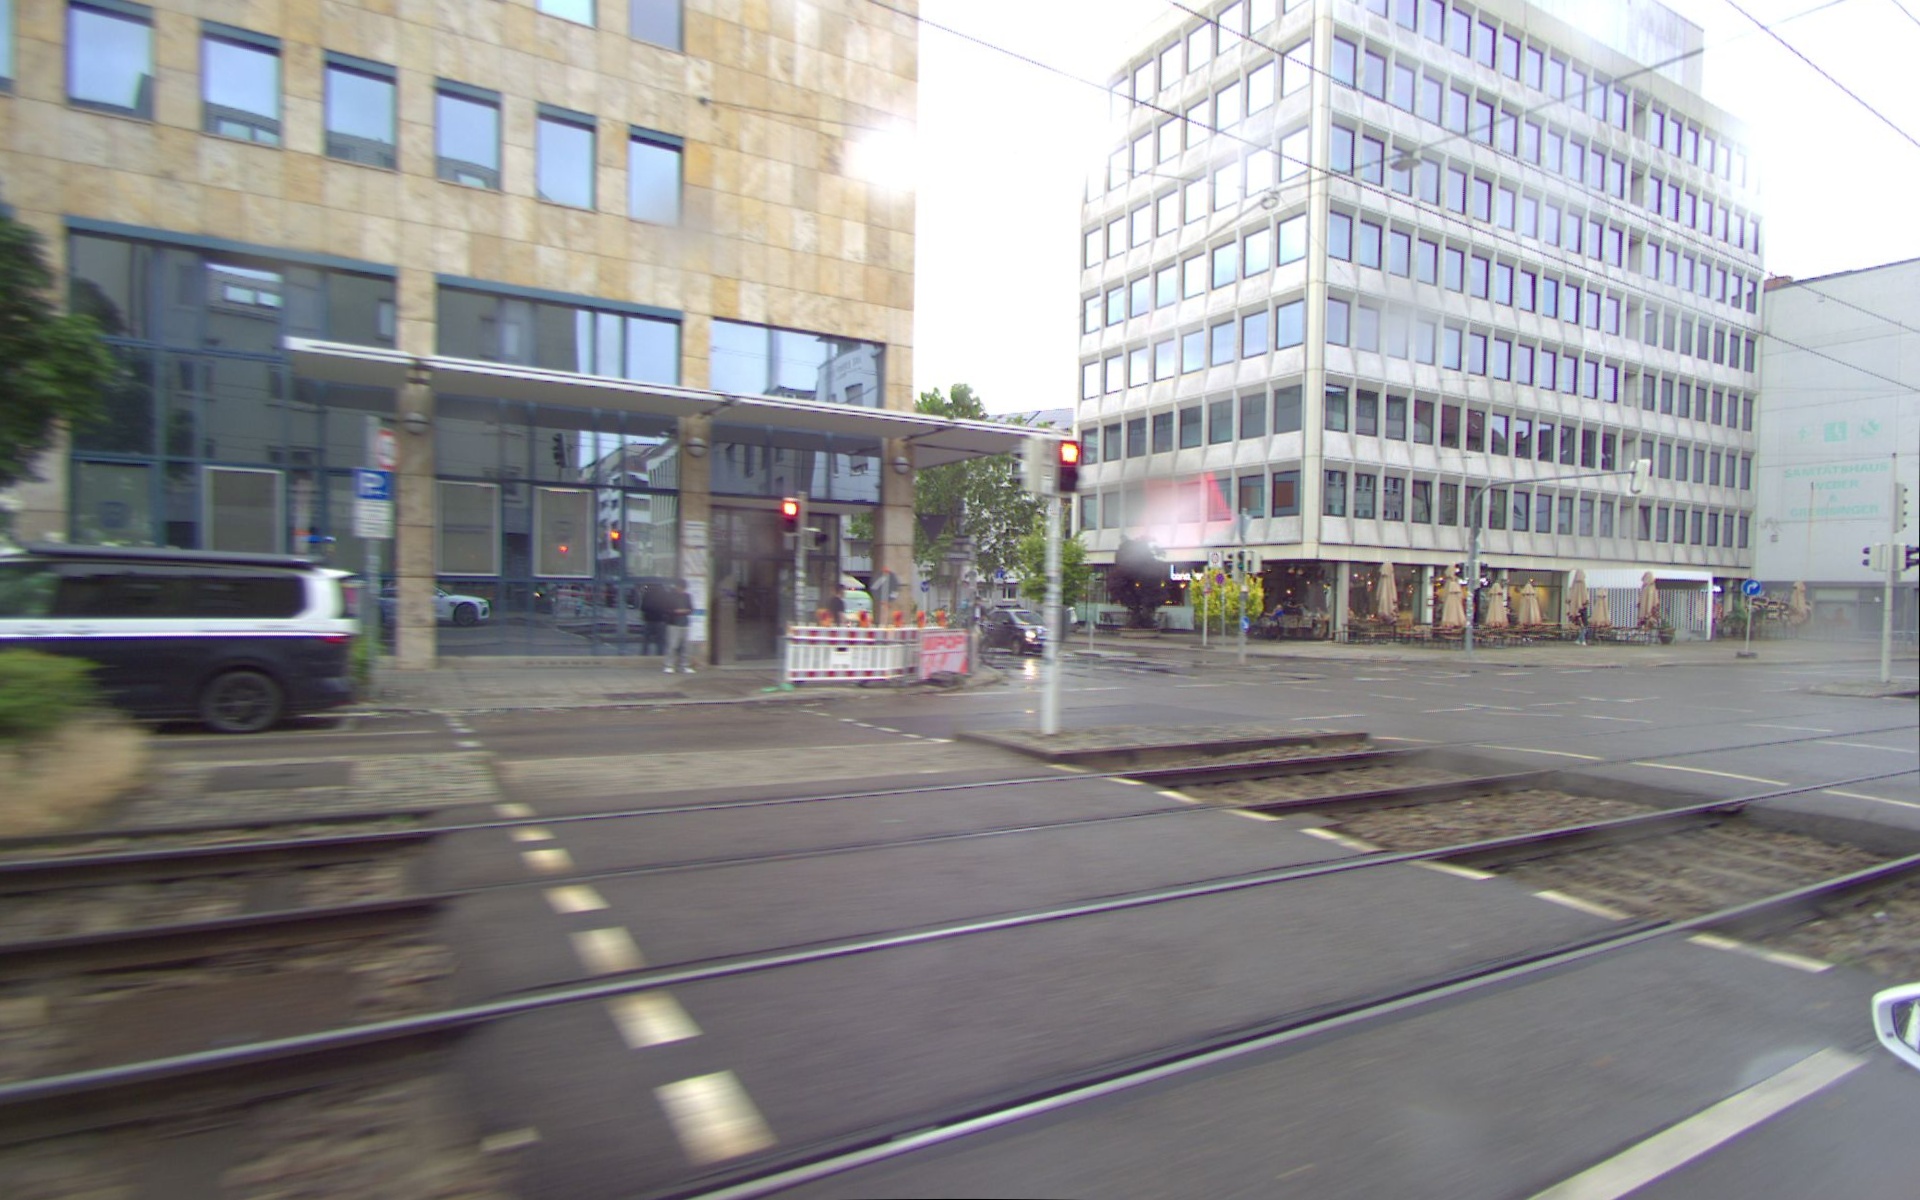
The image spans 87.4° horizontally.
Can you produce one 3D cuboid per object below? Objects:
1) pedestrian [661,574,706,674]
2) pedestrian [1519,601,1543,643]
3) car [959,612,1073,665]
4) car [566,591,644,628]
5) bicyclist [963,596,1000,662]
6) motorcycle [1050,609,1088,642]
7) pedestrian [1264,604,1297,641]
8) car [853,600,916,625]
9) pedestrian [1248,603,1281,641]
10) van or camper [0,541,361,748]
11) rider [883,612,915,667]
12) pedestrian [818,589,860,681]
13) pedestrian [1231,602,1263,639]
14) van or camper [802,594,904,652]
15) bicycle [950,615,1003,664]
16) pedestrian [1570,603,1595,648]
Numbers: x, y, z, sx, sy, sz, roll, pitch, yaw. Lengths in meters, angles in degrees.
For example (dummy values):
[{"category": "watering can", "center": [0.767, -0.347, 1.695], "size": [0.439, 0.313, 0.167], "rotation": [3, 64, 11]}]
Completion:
[{"category": "pedestrian", "center": [-5.213, 0.435, 18.926], "size": [0.670, 1.839, 0.698], "rotation": [1, 1, -28]}, {"category": "pedestrian", "center": [24.979, 0.957, 43.917], "size": [0.836, 1.772, 0.560], "rotation": [1, 1, -35]}, {"category": "car", "center": [1.807, 1.228, 33.583], "size": [1.870, 1.550, 3.964], "rotation": [1, 1, -32]}, {"category": "car", "center": [-20.251, 0.541, 57.395], "size": [3.930, 1.951, 1.995], "rotation": [2, 0, -12]}, {"category": "bicyclist", "center": [0.606, 0.806, 28.094], "size": [0.775, 1.828, 0.705], "rotation": [0, 0, -30]}, {"category": "motorcycle", "center": [5.886, 1.373, 54.222], "size": [2.062, 1.741, 0.870], "rotation": [1, -1, -40]}, {"category": "pedestrian", "center": [13.500, 0.940, 42.327], "size": [0.954, 1.553, 0.889], "rotation": [0, 1, -32]}, {"category": "car", "center": [-6.042, 1.013, 80.367], "size": [4.558, 1.871, 2.092], "rotation": [1, -1, -23]}, {"category": "pedestrian", "center": [12.684, 0.905, 41.815], "size": [0.886, 1.553, 0.957], "rotation": [1, 1, -30]}, {"category": "van or camper", "center": [-9.575, 0.439, 10.927], "size": [5.137, 2.024, 2.007], "rotation": [2, 0, -31]}, {"category": "rider", "center": [-1.941, 1.247, 31.944], "size": [0.775, 1.698, 0.705], "rotation": [0, 1, -30]}, {"category": "pedestrian", "center": [-2.431, 0.685, 20.161], "size": [0.689, 1.805, 0.679], "rotation": [1, 1, 5]}, {"category": "pedestrian", "center": [12.287, 0.876, 43.021], "size": [0.887, 1.553, 0.956], "rotation": [0, 1, -32]}, {"category": "van or camper", "center": [-4.289, 0.832, 39.463], "size": [2.072, 2.090, 5.057], "rotation": [1, 1, -30]}, {"category": "bicycle", "center": [0.439, 1.082, 28.036], "size": [0.652, 1.328, 1.755], "rotation": [1, -1, -30]}, {"category": "pedestrian", "center": [25.852, 1.064, 41.707], "size": [0.836, 1.847, 0.560], "rotation": [1, 1, -35]}]
